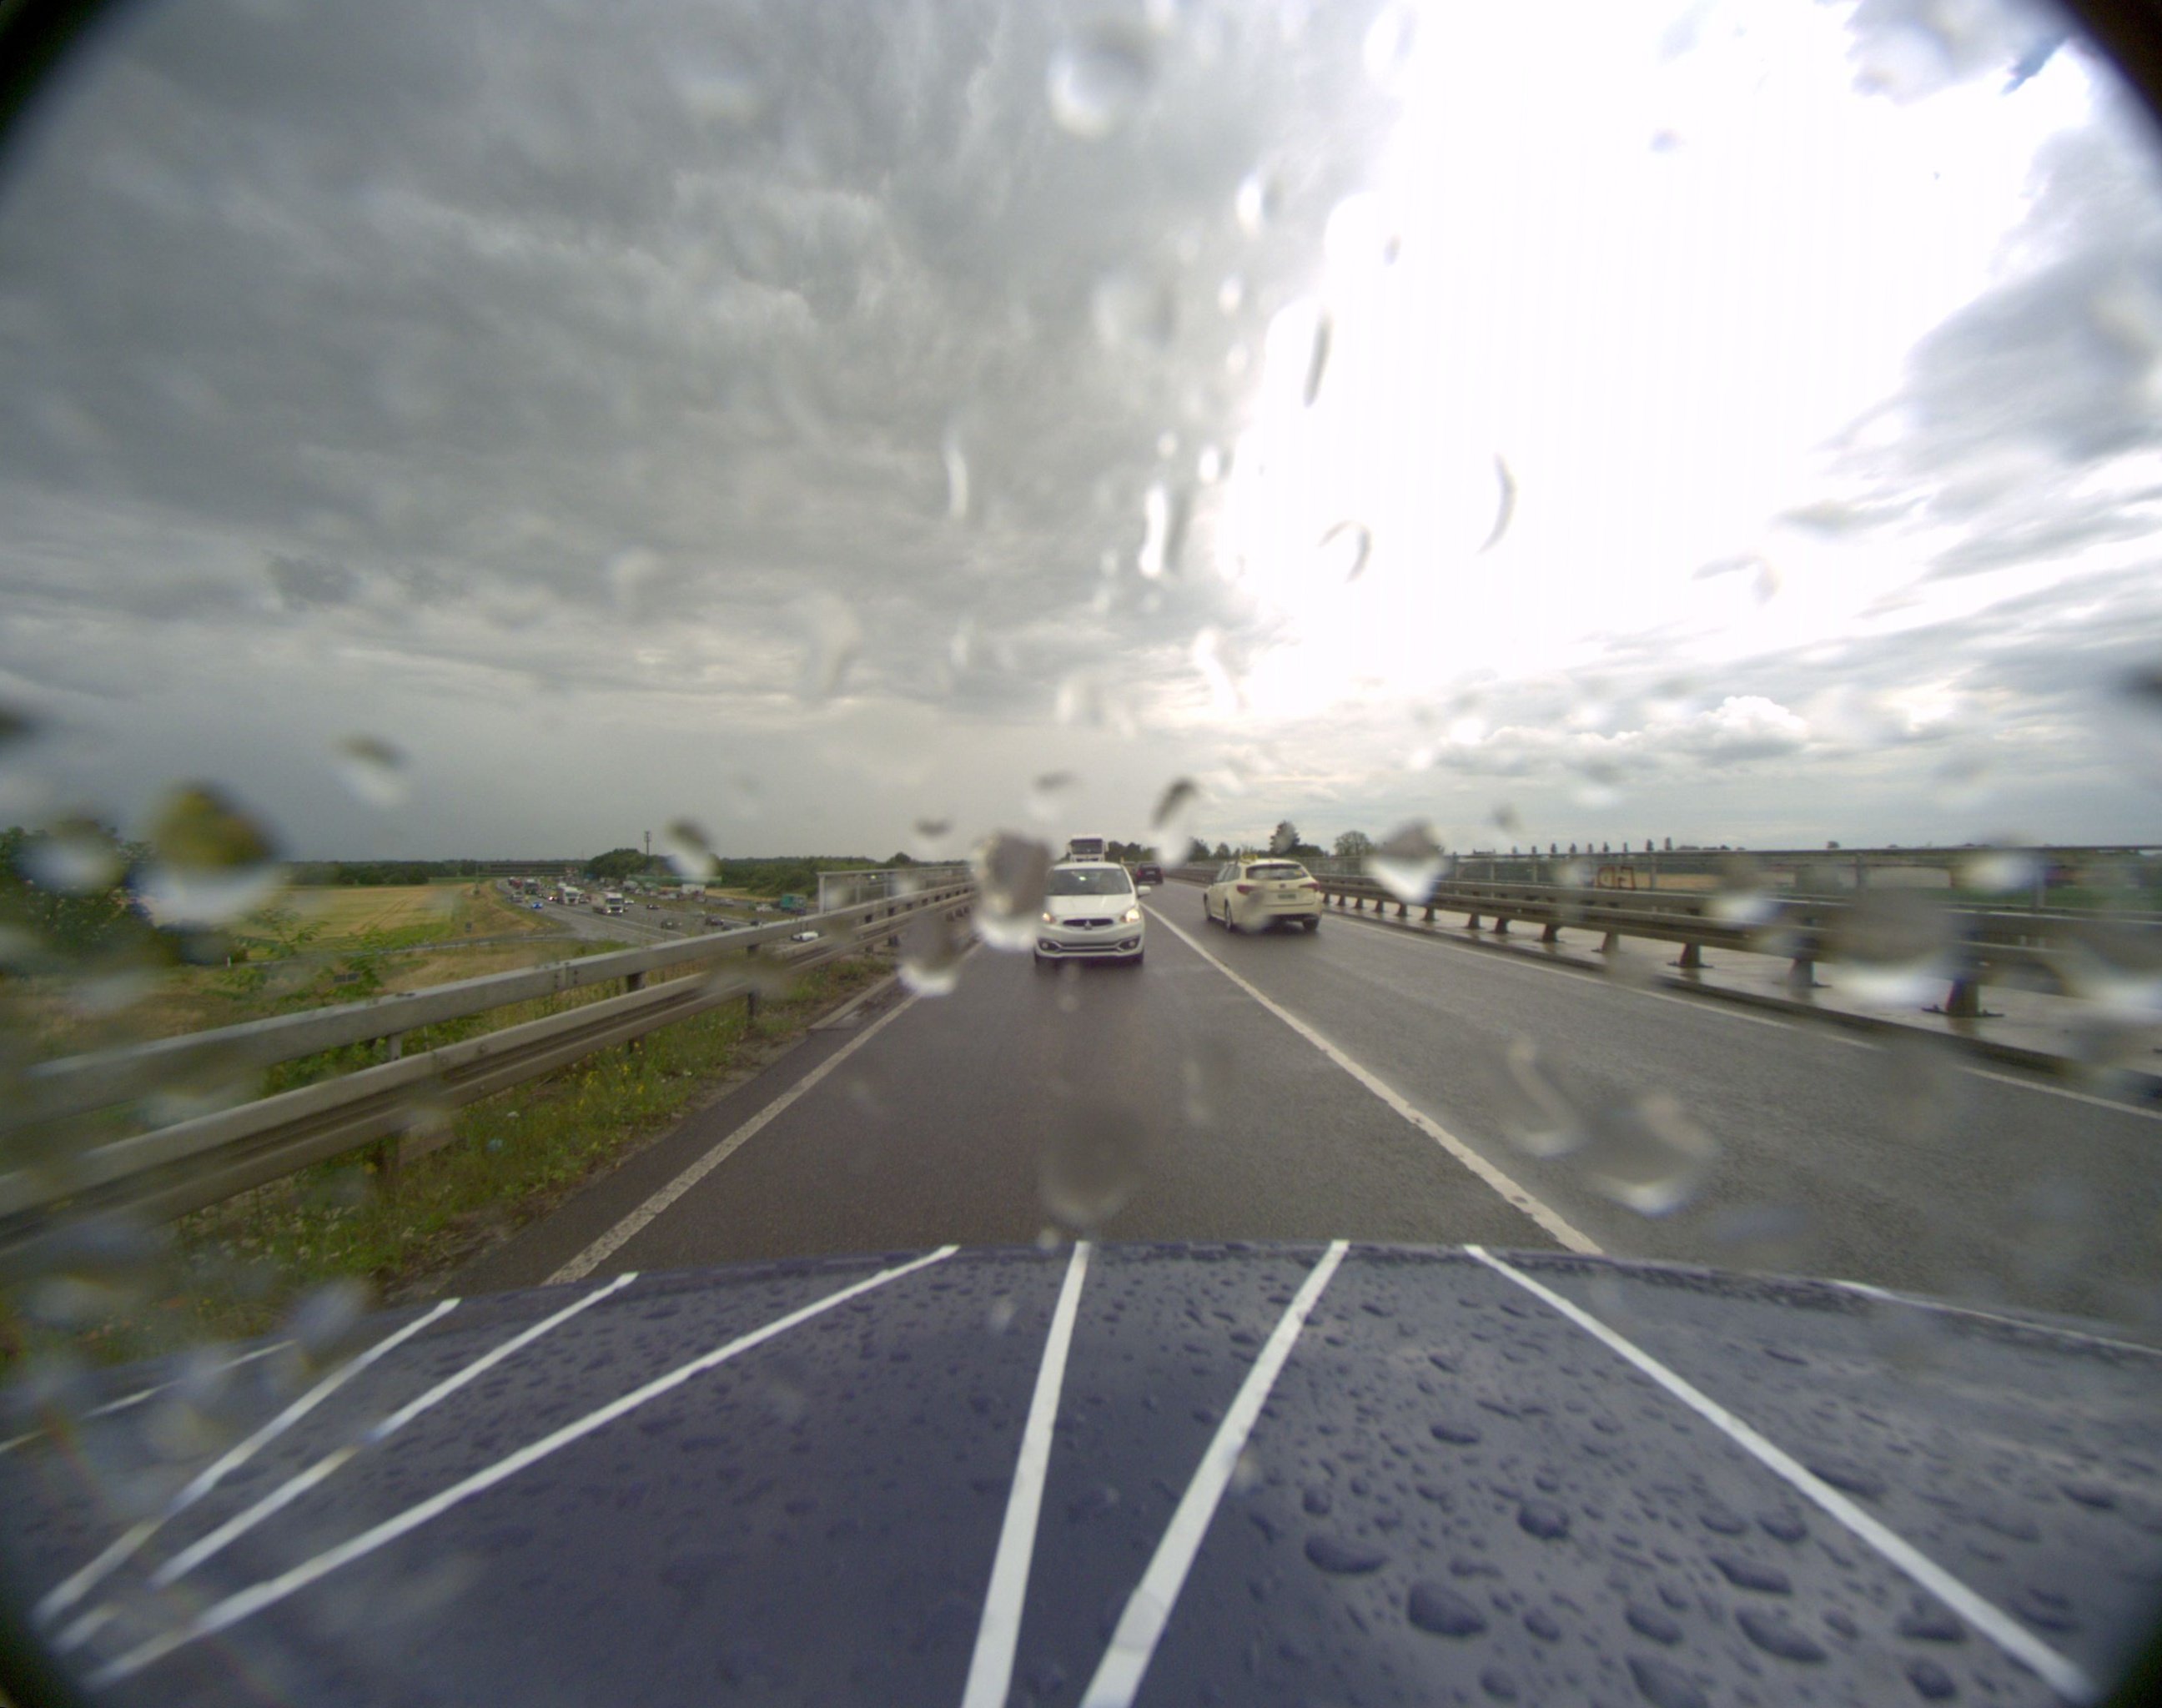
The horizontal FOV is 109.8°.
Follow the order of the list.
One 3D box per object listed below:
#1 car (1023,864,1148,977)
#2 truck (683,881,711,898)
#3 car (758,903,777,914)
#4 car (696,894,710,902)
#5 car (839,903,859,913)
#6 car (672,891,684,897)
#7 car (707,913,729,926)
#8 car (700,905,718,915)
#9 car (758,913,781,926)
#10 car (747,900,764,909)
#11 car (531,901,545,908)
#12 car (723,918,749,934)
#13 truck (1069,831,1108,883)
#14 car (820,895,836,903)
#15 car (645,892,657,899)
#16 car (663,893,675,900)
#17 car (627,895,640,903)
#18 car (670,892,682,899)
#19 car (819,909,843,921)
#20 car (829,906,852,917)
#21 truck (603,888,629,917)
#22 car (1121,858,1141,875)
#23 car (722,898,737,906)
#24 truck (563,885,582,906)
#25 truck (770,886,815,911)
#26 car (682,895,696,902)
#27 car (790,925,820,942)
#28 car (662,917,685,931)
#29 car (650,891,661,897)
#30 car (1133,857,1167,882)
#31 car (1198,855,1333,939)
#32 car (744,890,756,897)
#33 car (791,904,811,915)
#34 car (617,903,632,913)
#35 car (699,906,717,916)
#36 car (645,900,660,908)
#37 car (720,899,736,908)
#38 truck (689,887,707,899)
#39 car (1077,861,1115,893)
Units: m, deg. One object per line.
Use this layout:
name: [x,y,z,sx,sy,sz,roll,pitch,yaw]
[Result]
car: [0.069,0.948,12.571,1.675,1.476,4.129,-2,0,0]
truck: [-111.929,10.221,221.339,3.611,4.510,15.589,-2,0,-40]
car: [-58.660,10.172,142.144,1.860,1.659,4.712,-2,0,-42]
car: [-93.230,10.838,187.457,1.860,1.659,4.712,-2,0,-40]
car: [-43.594,10.169,142.744,1.860,1.659,4.712,-2,0,-40]
car: [-116.949,11.533,220.524,1.860,1.659,4.712,-2,0,-40]
car: [-56.081,10.126,117.331,1.860,1.659,4.712,-2,0,-40]
car: [-69.137,10.363,141.110,1.860,1.659,4.712,-2,0,-40]
car: [-47.108,9.832,114.932,1.860,1.659,4.712,-2,0,-40]
car: [-66.860,10.338,155.839,1.860,1.659,4.712,-2,0,-40]
car: [-115.102,10.711,161.129,1.818,1.427,4.712,-2,0,-42]
car: [-45.912,9.555,101.114,1.860,1.659,4.712,-2,0,-40]
truck: [0.493,0.092,57.813,2.631,3.536,8.475,-2,2,-1]
car: [-59.196,10.472,177.536,1.860,1.659,4.712,-2,0,-40]
car: [-121.544,11.690,214.745,1.860,1.659,4.712,-2,0,-40]
car: [-108.149,11.274,199.441,1.860,1.659,4.712,-2,0,-40]
car: [-109.450,10.941,185.644,1.860,1.659,4.712,-2,0,-40]
car: [-111.198,11.401,208.481,1.860,1.659,4.712,-2,0,-40]
car: [-39.446,9.650,119.889,1.860,1.659,4.712,-2,0,-42]
car: [-41.994,10.050,132.625,1.860,1.659,4.712,-2,0,-42]
truck: [-86.998,8.948,142.107,2.799,4.871,12.725,-2,0,-37]
car: [4.959,1.197,76.313,1.718,1.508,3.859,-2,1,0]
car: [-79.031,10.752,170.959,1.860,1.659,4.712,-2,0,-40]
truck: [-119.794,9.673,178.800,2.799,4.590,12.725,-2,0,-37]
truck: [-58.455,8.858,153.534,3.611,4.510,15.589,-2,0,-40]
car: [-94.866,10.768,183.753,1.860,1.659,4.712,-2,0,-40]
car: [-33.532,9.652,92.118,1.860,1.659,4.712,-2,0,-40]
car: [-57.385,9.784,106.956,1.860,1.659,4.712,-2,0,-40]
car: [-126.512,11.778,225.918,1.860,1.659,4.712,-2,0,-40]
car: [4.282,0.966,47.792,1.701,1.424,4.323,-2,0,0]
car: [3.792,0.812,16.432,1.814,1.500,4.611,-2,0,1]
car: [-95.467,11.377,219.112,1.860,1.659,4.712,-2,0,-40]
car: [-51.330,10.193,139.281,1.860,1.659,4.712,-2,0,-42]
car: [-90.820,10.746,151.111,1.860,1.659,4.712,-2,0,-40]
car: [-67.025,10.239,136.521,1.860,1.659,4.712,-2,0,-40]
car: [-92.278,10.722,163.485,1.860,1.659,4.712,-2,0,-40]
car: [-74.659,10.438,160.664,1.860,1.659,4.712,-2,0,-40]
truck: [-102.910,10.527,204.197,2.216,2.948,9.284,-2,0,-40]
car: [0.687,1.077,36.607,1.675,1.366,4.129,-2,0,0]
